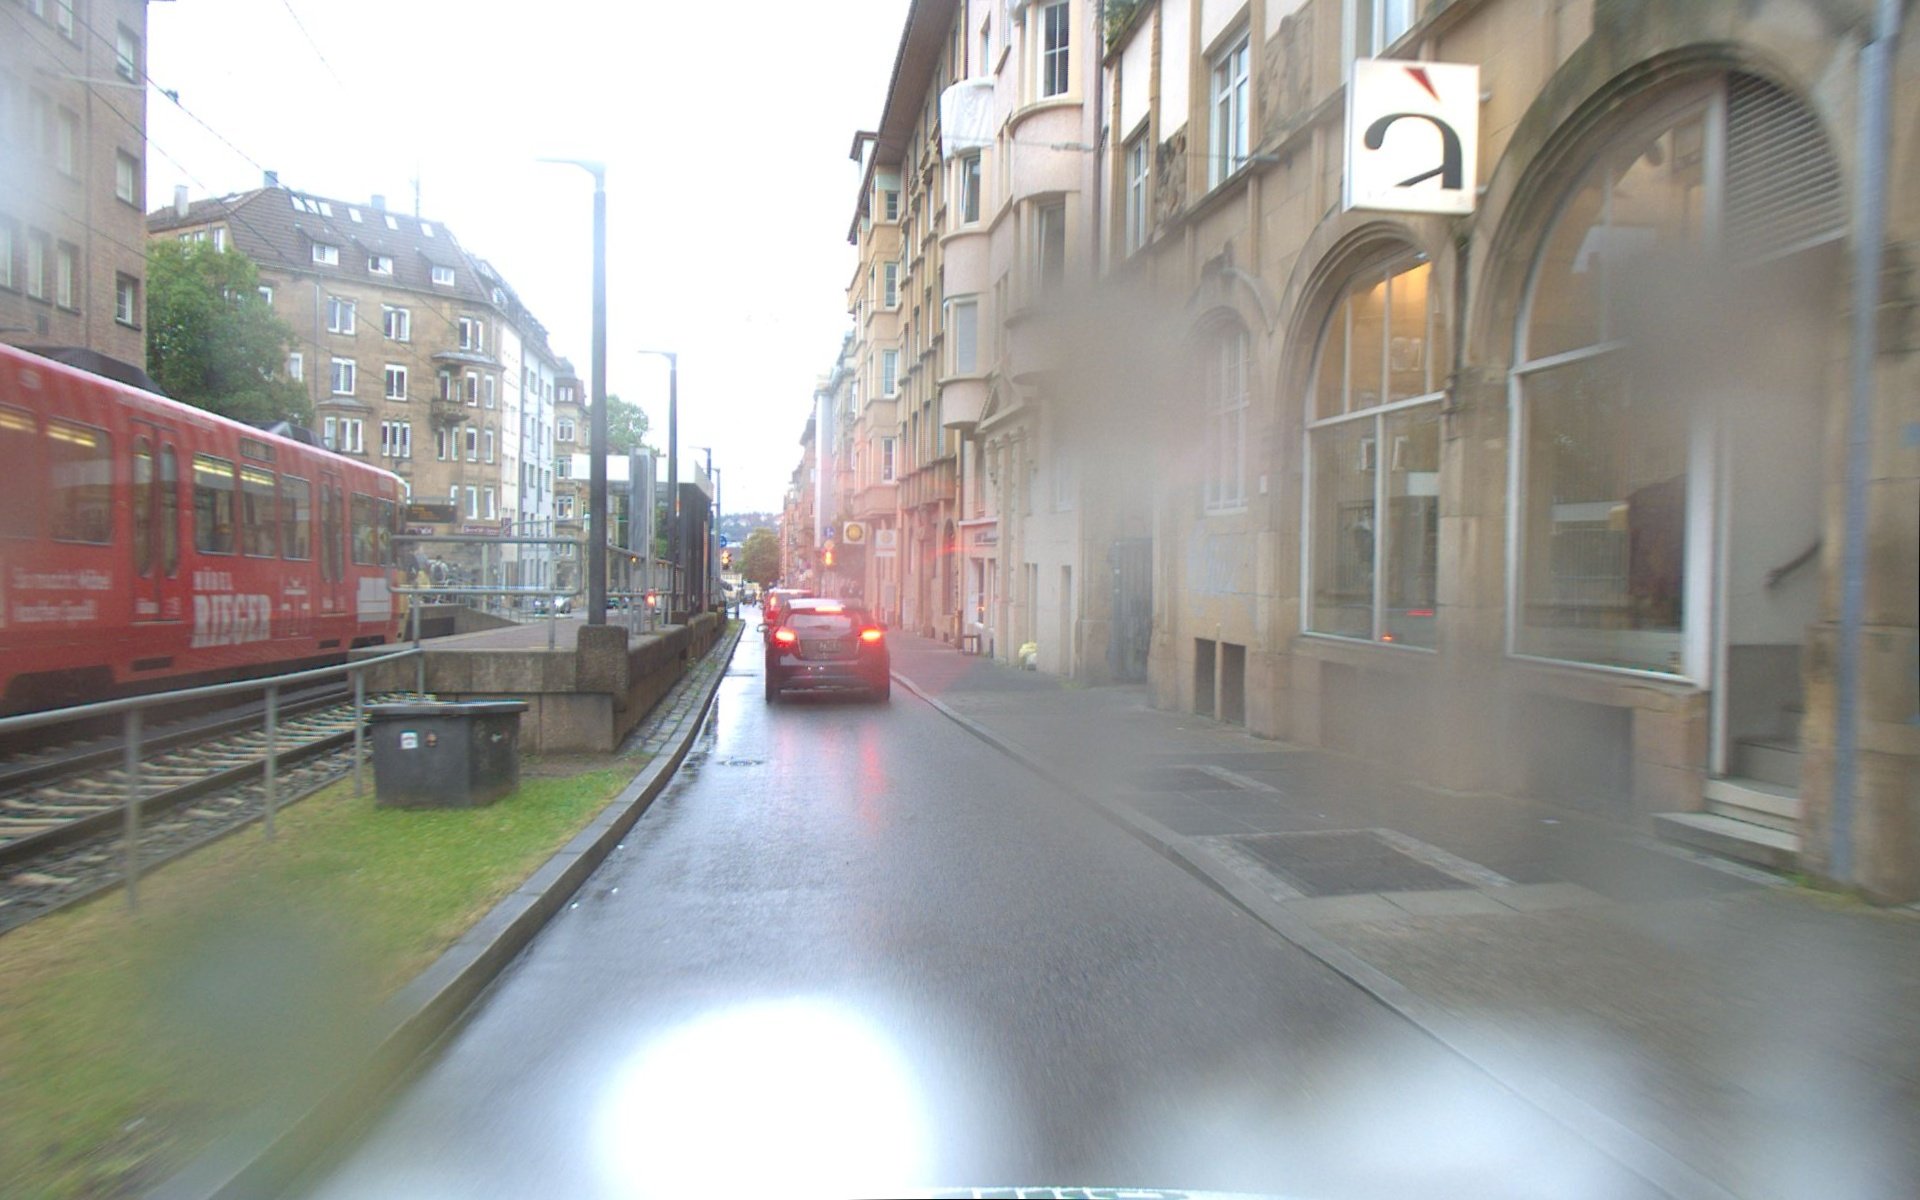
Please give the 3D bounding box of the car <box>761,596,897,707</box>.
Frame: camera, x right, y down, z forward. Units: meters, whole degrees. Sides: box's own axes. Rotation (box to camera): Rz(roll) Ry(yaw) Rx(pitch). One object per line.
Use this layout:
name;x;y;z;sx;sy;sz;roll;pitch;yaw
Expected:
car;-1.944;0.685;24.301;1.830;1.477;3.996;0;0;-5

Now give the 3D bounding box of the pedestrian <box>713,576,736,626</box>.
pedestrian;-9.821;0.044;68.955;0.908;2.049;0.946;0;0;-7

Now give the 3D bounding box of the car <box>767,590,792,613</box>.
car;-13.219;0.126;120.739;1.732;1.586;4.738;-1;0;-7

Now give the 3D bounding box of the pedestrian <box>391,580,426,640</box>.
pedestrian;-16.100;0.292;48.334;0.729;1.726;0.881;-3;0;-7

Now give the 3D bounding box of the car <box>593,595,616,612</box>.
car;-33.876;0.360;157.766;1.689;1.568;3.929;-2;0;-5

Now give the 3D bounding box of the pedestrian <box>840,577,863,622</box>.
pedestrian;-4.642;-0.020;70.740;0.882;1.872;0.967;-4;0;-5

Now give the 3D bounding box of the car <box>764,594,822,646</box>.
car;-4.875;0.553;48.441;1.617;1.477;3.996;0;0;-5

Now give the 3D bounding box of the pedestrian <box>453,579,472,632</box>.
pedestrian;-17.307;0.194;57.560;0.501;1.850;0.798;0;0;-7

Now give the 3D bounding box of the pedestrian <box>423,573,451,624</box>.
pedestrian;-16.535;-0.036;52.280;0.679;1.611;0.955;0;-1;-7

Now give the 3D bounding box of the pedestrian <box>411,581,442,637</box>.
pedestrian;-16.165;0.273;50.126;0.730;1.676;0.640;-3;0;-7

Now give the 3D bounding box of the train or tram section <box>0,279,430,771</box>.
train or tram section;-10.090;-0.600;21.181;2.663;3.989;19.830;0;0;-7
